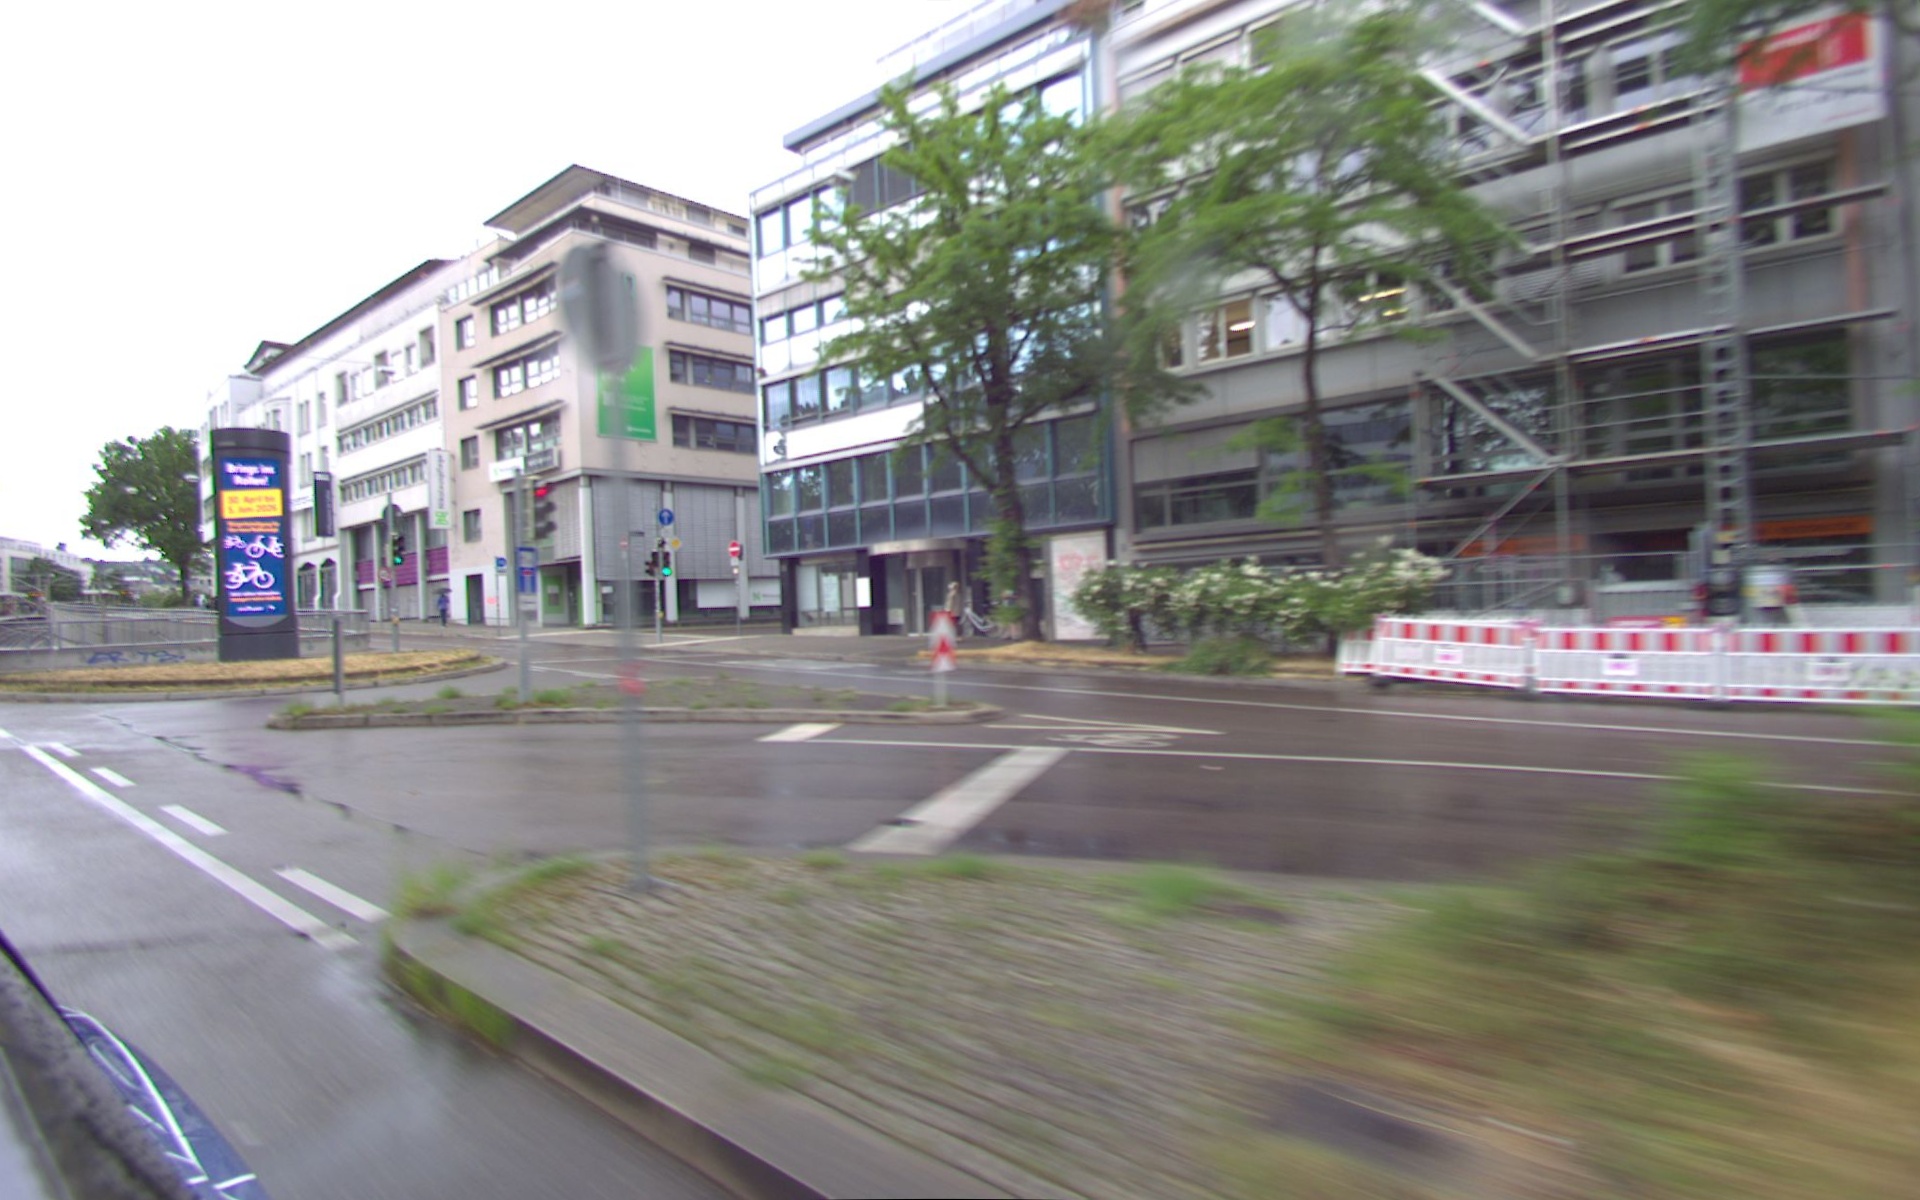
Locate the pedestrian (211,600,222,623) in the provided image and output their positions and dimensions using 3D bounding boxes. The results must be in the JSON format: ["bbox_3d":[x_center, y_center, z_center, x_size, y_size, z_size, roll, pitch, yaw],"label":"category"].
[{"bbox_3d":[-58.483,0.880,79.622,0.469,1.816,0.541,-1,1,33],"label":"pedestrian"}]

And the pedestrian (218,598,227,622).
[{"bbox_3d":[-57.470,0.792,78.870,0.547,1.816,0.463,-1,1,44],"label":"pedestrian"}]

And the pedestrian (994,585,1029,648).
[{"bbox_3d":[1.476,0.460,29.021,0.694,1.754,0.689,-1,1,36],"label":"pedestrian"}]

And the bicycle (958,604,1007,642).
[{"bbox_3d":[0.650,0.673,29.898,0.441,1.093,1.566,-1,0,-45],"label":"bicycle"}]

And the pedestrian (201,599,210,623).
[{"bbox_3d":[-58.830,0.876,78.935,0.463,1.816,0.548,-2,1,-42],"label":"pedestrian"}]

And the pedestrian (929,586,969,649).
[{"bbox_3d":[-0.308,0.492,28.795,0.876,1.754,0.686,-1,1,39],"label":"pedestrian"}]

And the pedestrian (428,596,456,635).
[{"bbox_3d":[-25.167,0.733,49.156,1.059,1.852,0.848,-1,1,41],"label":"pedestrian"}]
